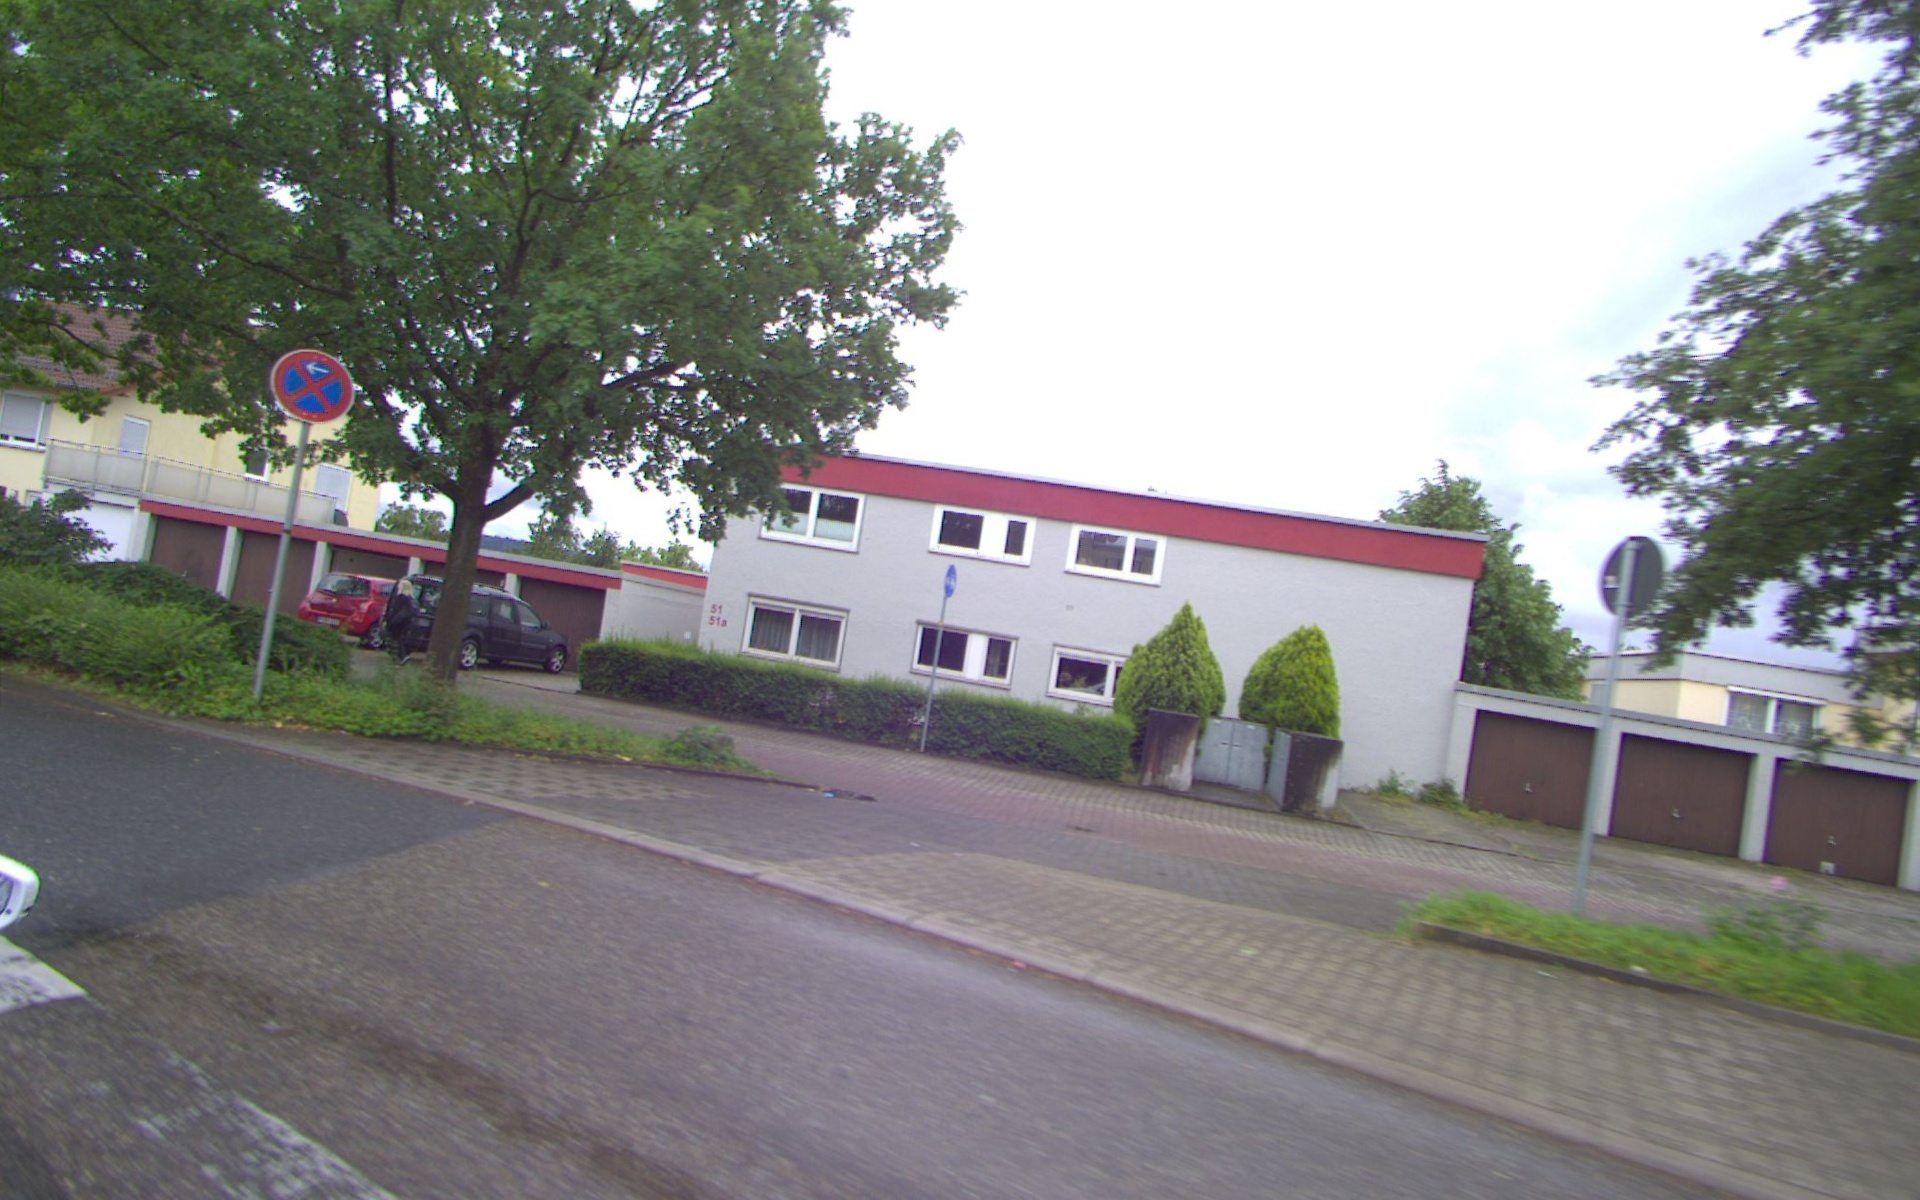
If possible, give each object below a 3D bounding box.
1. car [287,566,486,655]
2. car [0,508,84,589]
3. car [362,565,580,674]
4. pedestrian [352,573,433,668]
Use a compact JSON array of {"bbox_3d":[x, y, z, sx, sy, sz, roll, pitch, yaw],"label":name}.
[{"bbox_3d":[-12.326,0.310,21.920,1.674,1.457,3.712,8,-3,9],"label":"car"},{"bbox_3d":[-23.249,-1.434,23.146,1.954,1.689,4.202,8,-3,11],"label":"car"},{"bbox_3d":[-9.883,0.497,20.733,1.888,1.739,4.008,8,-3,9],"label":"car"},{"bbox_3d":[-10.243,0.389,18.173,0.826,1.575,0.667,8,-2,5],"label":"pedestrian"}]
